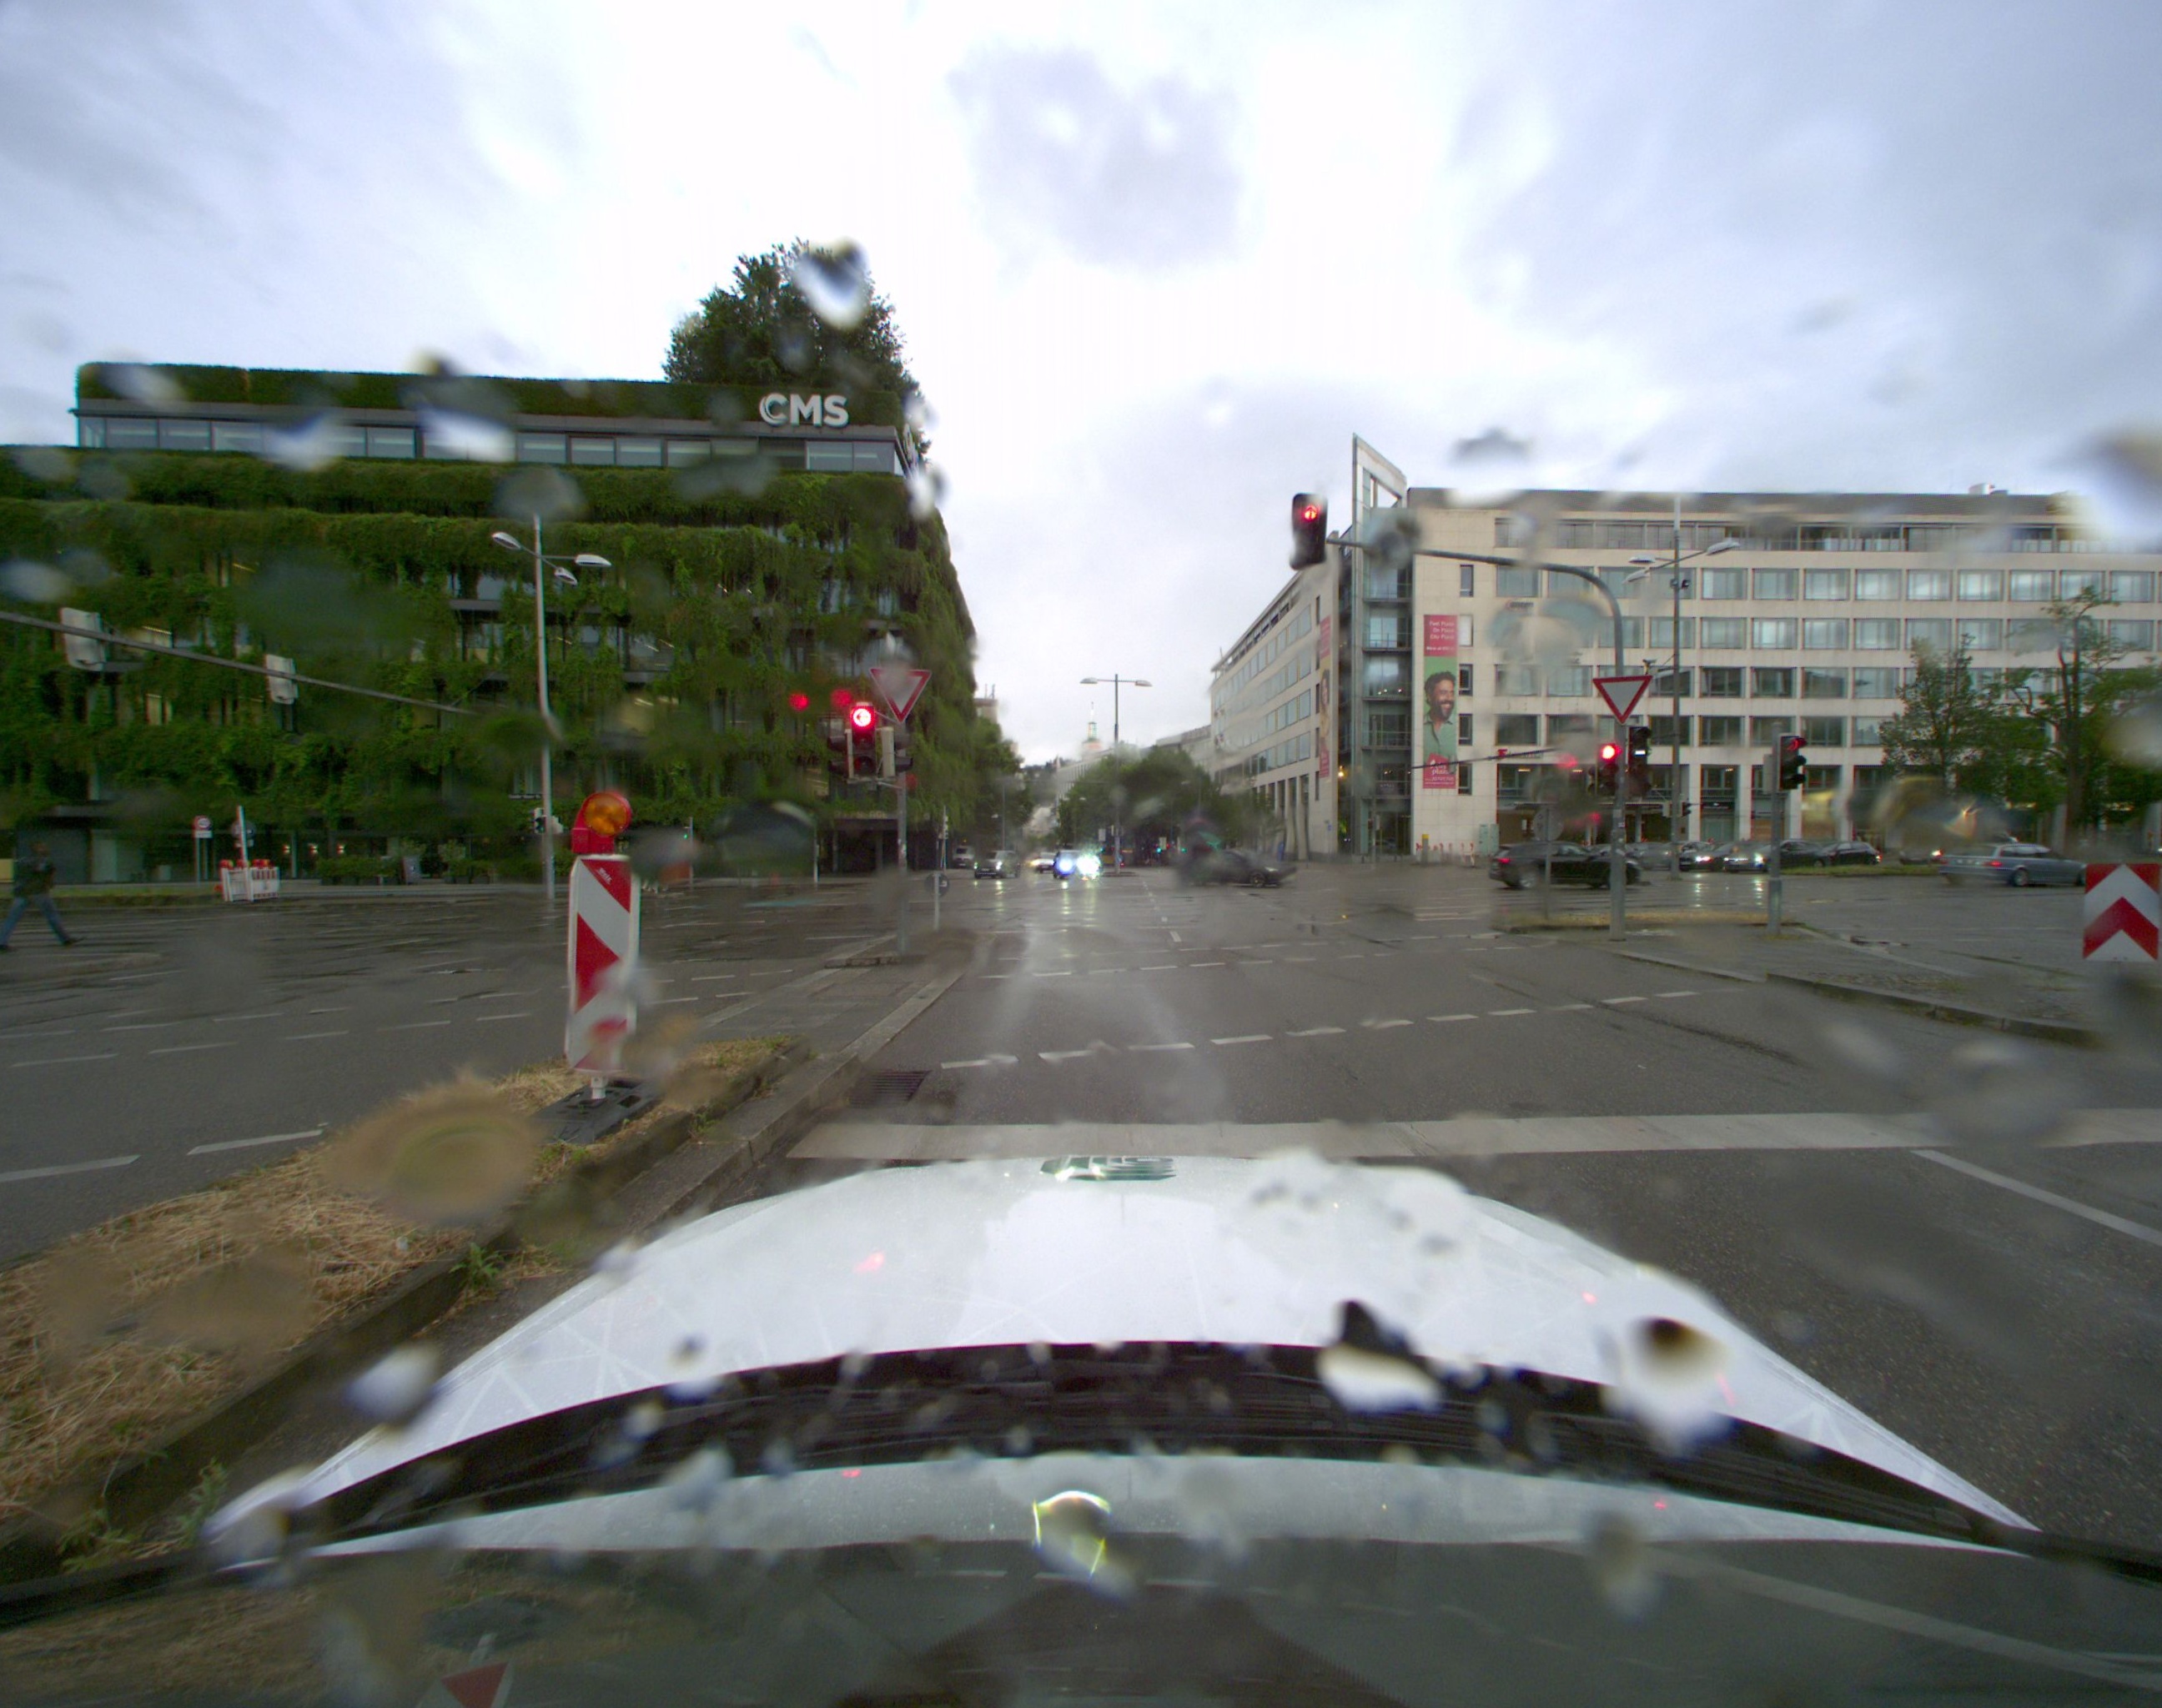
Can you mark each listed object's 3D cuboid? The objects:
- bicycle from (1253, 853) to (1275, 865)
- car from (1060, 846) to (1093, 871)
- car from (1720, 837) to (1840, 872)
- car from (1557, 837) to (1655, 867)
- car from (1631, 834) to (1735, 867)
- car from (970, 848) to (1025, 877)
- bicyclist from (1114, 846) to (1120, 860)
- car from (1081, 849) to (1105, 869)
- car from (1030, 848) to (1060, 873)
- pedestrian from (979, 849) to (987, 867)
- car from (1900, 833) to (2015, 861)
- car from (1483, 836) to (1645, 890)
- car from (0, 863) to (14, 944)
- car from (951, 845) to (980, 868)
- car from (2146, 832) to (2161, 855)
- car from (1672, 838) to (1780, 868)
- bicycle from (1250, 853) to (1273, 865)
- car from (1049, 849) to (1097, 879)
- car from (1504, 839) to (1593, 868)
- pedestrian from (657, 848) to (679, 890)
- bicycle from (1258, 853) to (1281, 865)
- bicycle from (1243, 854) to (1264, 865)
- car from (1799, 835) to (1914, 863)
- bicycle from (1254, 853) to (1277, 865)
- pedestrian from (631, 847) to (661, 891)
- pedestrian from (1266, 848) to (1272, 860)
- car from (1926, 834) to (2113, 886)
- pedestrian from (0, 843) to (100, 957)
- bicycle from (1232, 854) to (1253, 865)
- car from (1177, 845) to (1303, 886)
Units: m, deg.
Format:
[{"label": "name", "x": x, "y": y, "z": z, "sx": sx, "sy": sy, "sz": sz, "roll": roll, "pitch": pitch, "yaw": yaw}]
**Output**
[{"label": "bicycle", "x": 14.910, "y": 0.434, "z": 66.382, "sx": 1.778, "sy": 0.934, "sz": 0.478, "roll": -1, "pitch": 0, "yaw": 43}, {"label": "car", "x": -0.246, "y": 0.290, "z": 56.658, "sx": 1.985, "sy": 1.529, "sz": 4.560, "roll": -1, "pitch": 1, "yaw": 3}, {"label": "car", "x": 31.163, "y": -0.004, "z": 36.346, "sx": 4.452, "sy": 1.464, "sz": 1.716, "roll": -1, "pitch": 0, "yaw": -11}, {"label": "car", "x": 29.212, "y": -0.131, "z": 45.385, "sx": 4.451, "sy": 1.598, "sz": 1.993, "roll": -1, "pitch": 0, "yaw": -10}, {"label": "car", "x": 31.680, "y": -0.185, "z": 42.909, "sx": 4.455, "sy": 1.598, "sz": 1.991, "roll": -1, "pitch": 0, "yaw": -13}, {"label": "car", "x": -4.886, "y": 0.474, "z": 48.354, "sx": 1.980, "sy": 1.598, "sz": 4.479, "roll": -1, "pitch": 0, "yaw": 11}, {"label": "bicyclist", "x": 5.330, "y": -0.129, "z": 120.268, "sx": 0.789, "sy": 1.975, "sz": 1.114, "roll": -1, "pitch": 0, "yaw": 0}, {"label": "car", "x": 1.015, "y": 0.387, "z": 69.228, "sx": 1.987, "sy": 1.529, "sz": 4.556, "roll": -1, "pitch": 1, "yaw": 0}, {"label": "car", "x": -2.874, "y": 0.498, "z": 64.258, "sx": 2.171, "sy": 1.823, "sz": 4.637, "roll": -1, "pitch": 0, "yaw": -4}, {"label": "pedestrian", "x": -8.177, "y": 0.358, "z": 68.205, "sx": 0.605, "sy": 1.524, "sz": 0.587, "roll": -1, "pitch": 0, "yaw": -3}, {"label": "car", "x": 45.246, "y": -0.366, "z": 42.066, "sx": 4.637, "sy": 1.348, "sz": 1.919, "roll": -1, "pitch": 0, "yaw": -12}, {"label": "car", "x": 16.164, "y": 0.290, "z": 27.474, "sx": 4.318, "sy": 1.655, "sz": 1.978, "roll": -1, "pitch": 1, "yaw": 14}, {"label": "car", "x": -27.136, "y": 1.200, "z": 18.221, "sx": 3.451, "sy": 1.922, "sz": 1.992, "roll": -1, "pitch": 0, "yaw": -11}, {"label": "car", "x": -9.701, "y": 0.197, "z": 68.716, "sx": 1.989, "sy": 1.895, "sz": 4.461, "roll": -1, "pitch": 0, "yaw": -2}, {"label": "car", "x": 67.045, "y": -0.657, "z": 48.691, "sx": 4.628, "sy": 1.348, "sz": 1.923, "roll": -1, "pitch": 0, "yaw": -6}, {"label": "car", "x": 31.289, "y": -0.058, "z": 39.523, "sx": 4.455, "sy": 1.348, "sz": 1.715, "roll": -1, "pitch": 0, "yaw": -13}, {"label": "bicycle", "x": 14.190, "y": 0.403, "z": 64.045, "sx": 1.778, "sy": 0.934, "sz": 0.478, "roll": -1, "pitch": 0, "yaw": 43}, {"label": "car", "x": -0.504, "y": 0.483, "z": 43.931, "sx": 1.992, "sy": 1.443, "sz": 4.544, "roll": -2, "pitch": 1, "yaw": -8}, {"label": "car", "x": 27.941, "y": -0.048, "z": 48.725, "sx": 4.456, "sy": 1.598, "sz": 1.991, "roll": -1, "pitch": 0, "yaw": -14}, {"label": "pedestrian", "x": -17.325, "y": 0.622, "z": 34.174, "sx": 0.744, "sy": 1.758, "sz": 0.969, "roll": -1, "pitch": 0, "yaw": -22}, {"label": "bicycle", "x": 14.979, "y": 0.388, "z": 64.669, "sx": 1.778, "sy": 0.934, "sz": 0.478, "roll": -1, "pitch": 0, "yaw": 43}, {"label": "bicycle", "x": 14.971, "y": 0.441, "z": 70.712, "sx": 1.786, "sy": 0.934, "sz": 0.476, "roll": -1, "pitch": 0, "yaw": 4}, {"label": "car", "x": 39.118, "y": -0.245, "z": 41.120, "sx": 4.637, "sy": 1.348, "sz": 1.919, "roll": -1, "pitch": 0, "yaw": -12}, {"label": "bicycle", "x": 14.848, "y": 0.395, "z": 65.639, "sx": 1.778, "sy": 0.934, "sz": 0.478, "roll": -1, "pitch": 0, "yaw": 43}, {"label": "pedestrian", "x": -18.048, "y": 0.615, "z": 33.788, "sx": 0.939, "sy": 1.758, "sz": 1.163, "roll": -1, "pitch": 0, "yaw": -22}, {"label": "pedestrian", "x": 17.943, "y": -0.020, "z": 77.692, "sx": 0.356, "sy": 1.173, "sz": 0.410, "roll": -1, "pitch": -1, "yaw": -43}, {"label": "car", "x": 30.630, "y": 0.158, "z": 26.639, "sx": 4.448, "sy": 1.486, "sz": 1.994, "roll": -2, "pitch": 1, "yaw": -9}, {"label": "pedestrian", "x": -18.175, "y": 0.760, "z": 14.171, "sx": 0.687, "sy": 1.885, "sz": 1.236, "roll": 1, "pitch": 0, "yaw": -3}, {"label": "bicycle", "x": 14.404, "y": 0.457, "z": 72.576, "sx": 1.786, "sy": 0.934, "sz": 0.476, "roll": -1, "pitch": 0, "yaw": 4}, {"label": "car", "x": 6.026, "y": 0.408, "z": 31.315, "sx": 1.872, "sy": 1.448, "sz": 4.565, "roll": -2, "pitch": 1, "yaw": -42}]
